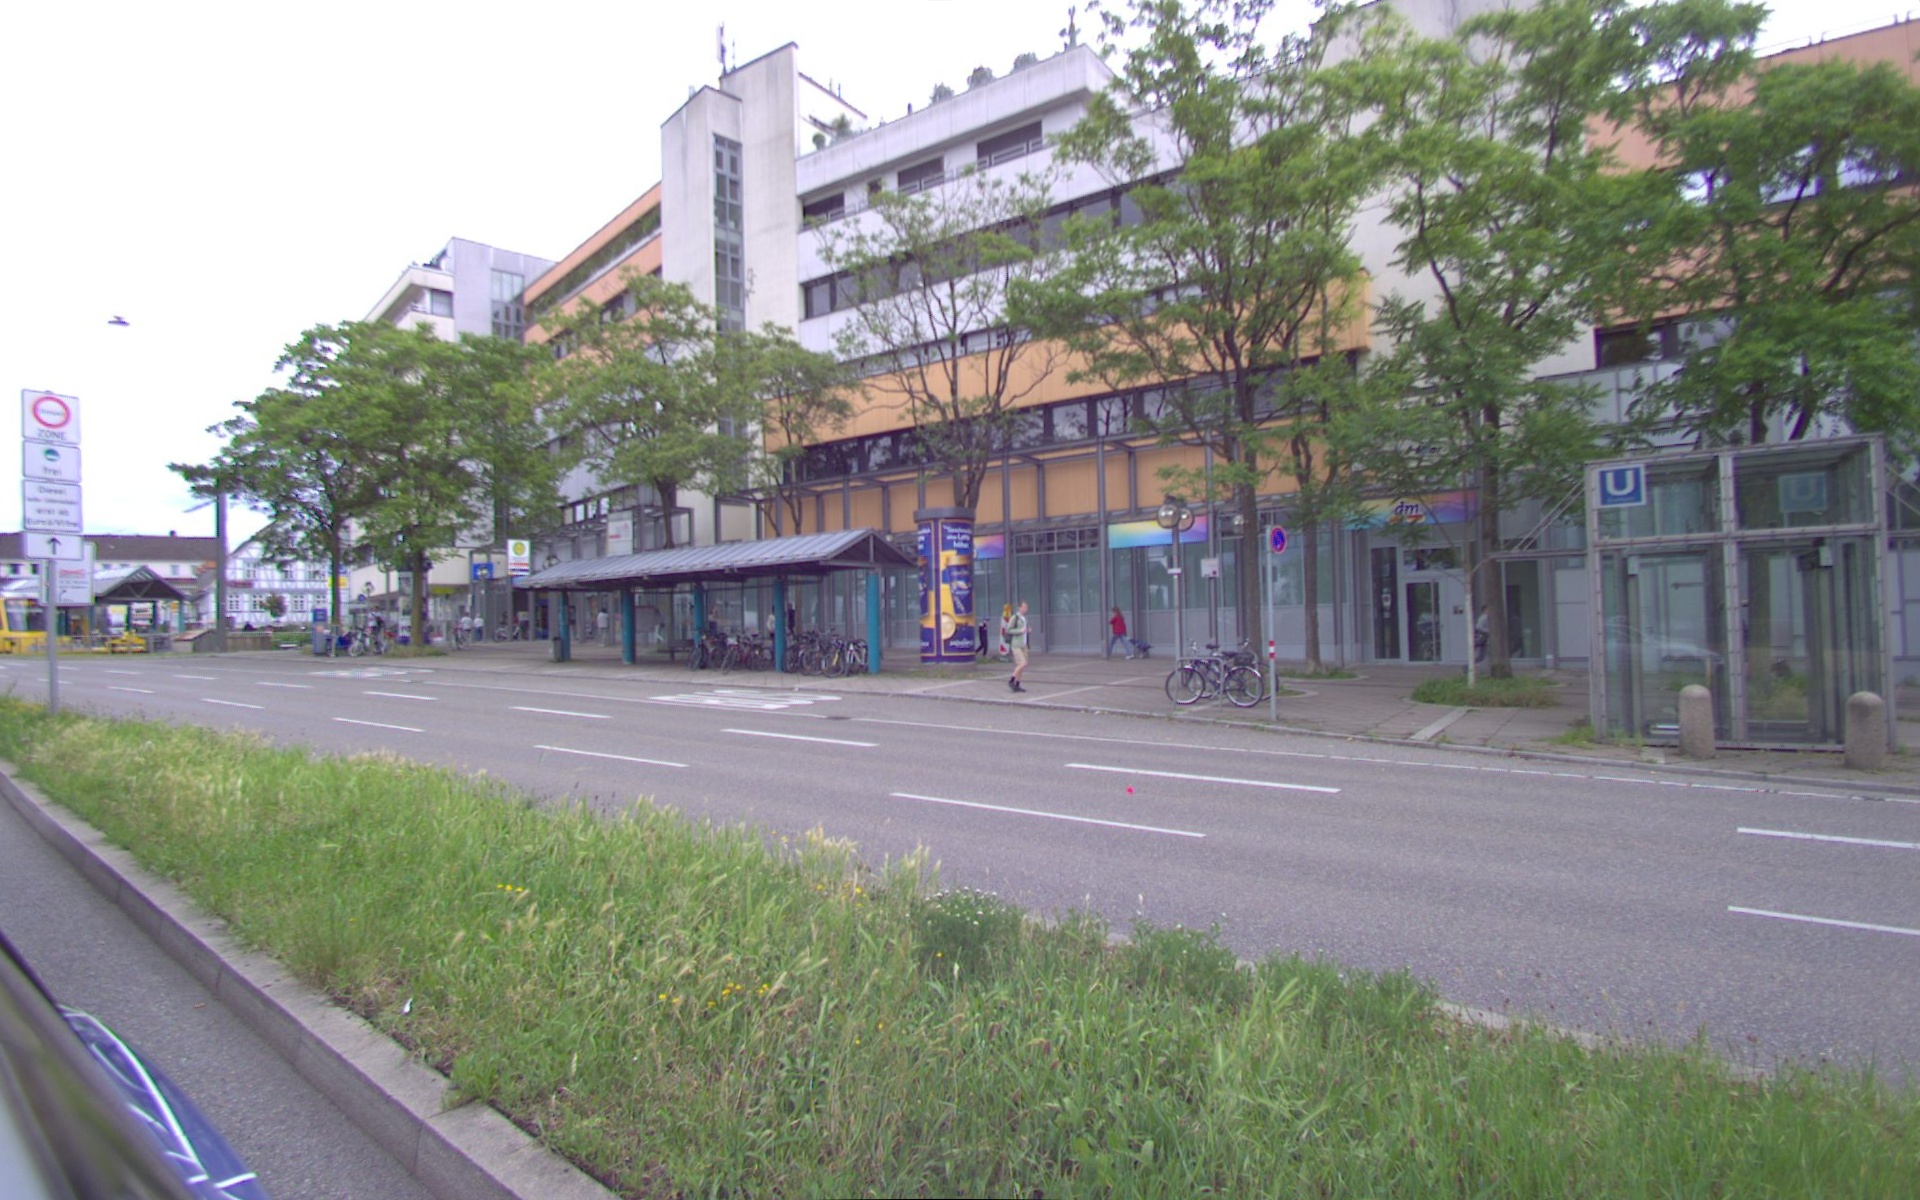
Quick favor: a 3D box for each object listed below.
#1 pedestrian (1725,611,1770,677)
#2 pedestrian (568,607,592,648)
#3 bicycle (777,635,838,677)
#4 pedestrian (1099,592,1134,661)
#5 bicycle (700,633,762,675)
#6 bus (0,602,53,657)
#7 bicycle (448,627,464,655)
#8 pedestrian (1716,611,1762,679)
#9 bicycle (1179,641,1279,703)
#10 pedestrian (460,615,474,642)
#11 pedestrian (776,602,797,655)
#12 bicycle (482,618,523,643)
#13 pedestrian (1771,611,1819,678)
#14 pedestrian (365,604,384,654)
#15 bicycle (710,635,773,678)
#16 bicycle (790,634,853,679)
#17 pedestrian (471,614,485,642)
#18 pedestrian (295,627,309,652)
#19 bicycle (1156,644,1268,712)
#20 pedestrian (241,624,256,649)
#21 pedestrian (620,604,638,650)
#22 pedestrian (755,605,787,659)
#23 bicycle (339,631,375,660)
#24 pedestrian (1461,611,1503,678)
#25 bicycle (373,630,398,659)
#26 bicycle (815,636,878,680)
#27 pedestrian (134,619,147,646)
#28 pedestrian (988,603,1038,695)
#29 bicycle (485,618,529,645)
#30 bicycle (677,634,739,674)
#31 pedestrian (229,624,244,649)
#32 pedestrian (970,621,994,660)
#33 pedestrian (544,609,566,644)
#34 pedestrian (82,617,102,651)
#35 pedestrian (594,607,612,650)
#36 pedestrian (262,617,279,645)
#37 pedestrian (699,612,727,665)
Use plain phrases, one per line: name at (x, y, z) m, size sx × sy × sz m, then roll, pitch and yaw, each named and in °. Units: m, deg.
pedestrian at (16.909, 0.929, 21.735) m, size 0.694 × 1.385 × 0.578 m, roll -1°, pitch -2°, yaw 34°
pedestrian at (-17.436, 1.265, 46.437) m, size 0.752 × 1.859 × 0.755 m, roll -1°, pitch -2°, yaw 41°
bicycle at (-4.144, 1.516, 27.555) m, size 0.549 × 1.048 × 1.714 m, roll -2°, pitch -1°, yaw 38°
pedestrian at (4.675, 0.786, 30.243) m, size 0.791 × 2.029 × 0.703 m, roll -1°, pitch 0°, yaw 31°
bicycle at (-6.461, 1.513, 28.578) m, size 0.549 × 1.048 × 1.714 m, roll -2°, pitch 1°, yaw 38°
bus at (-55.991, 1.687, 58.606) m, size 8.470 × 3.006 × 2.530 m, roll -1°, pitch -2°, yaw 29°
bicycle at (-21.359, 1.709, 42.922) m, size 0.584 × 1.134 × 2.044 m, roll 1°, pitch -1°, yaw -26°
pedestrian at (16.398, 0.936, 21.315) m, size 0.694 × 1.385 × 0.578 m, roll -1°, pitch -2°, yaw 34°
bicycle at (4.978, 1.314, 18.785) m, size 1.737 × 1.074 × 0.542 m, roll -2°, pitch -1°, yaw 45°
pedestrian at (-26.770, 1.547, 54.924) m, size 0.548 × 1.506 × 0.454 m, roll 1°, pitch -2°, yaw -41°
pedestrian at (-6.720, 1.111, 39.207) m, size 0.558 × 2.029 × 0.611 m, roll 1°, pitch -2°, yaw -44°
bicycle at (-26.105, 1.737, 57.759) m, size 2.106 × 1.377 × 0.621 m, roll -1°, pitch 0°, yaw -24°
pedestrian at (17.568, 0.926, 21.310) m, size 0.694 × 1.385 × 0.578 m, roll -1°, pitch -2°, yaw 34°
pedestrian at (-27.275, 1.351, 47.144) m, size 0.608 × 2.325 × 0.583 m, roll -1°, pitch -2°, yaw 39°
bicycle at (-5.966, 1.531, 27.716) m, size 0.549 × 1.048 × 1.714 m, roll -2°, pitch 1°, yaw 38°
bicycle at (-3.620, 1.459, 26.588) m, size 0.549 × 1.048 × 1.714 m, roll -2°, pitch 0°, yaw 38°
pedestrian at (-26.341, 1.540, 55.320) m, size 0.548 × 1.506 × 0.454 m, roll 1°, pitch -2°, yaw -41°
pedestrian at (-41.727, 2.487, 64.172) m, size 0.581 × 1.554 × 0.570 m, roll -1°, pitch -2°, yaw 32°
bicycle at (4.362, 1.325, 17.594) m, size 0.802 × 1.068 × 1.739 m, roll 0°, pitch -1°, yaw -40°
pedestrian at (-45.023, 2.299, 64.043) m, size 0.581 × 1.554 × 0.570 m, roll -1°, pitch -2°, yaw 32°
pedestrian at (-14.742, 1.183, 45.091) m, size 0.558 × 2.029 × 0.611 m, roll 1°, pitch -2°, yaw -44°
pedestrian at (-5.885, 0.981, 31.482) m, size 0.721 × 1.662 × 0.669 m, roll -1°, pitch -1°, yaw 37°
bicycle at (-23.621, 1.768, 39.645) m, size 0.585 × 1.085 × 2.042 m, roll 0°, pitch -1°, yaw -12°
pedestrian at (11.803, 0.997, 22.897) m, size 0.754 × 1.491 × 0.524 m, roll -1°, pitch -2°, yaw 36°
bicycle at (-22.754, 1.755, 40.102) m, size 0.584 × 1.085 × 2.044 m, roll 0°, pitch -1°, yaw -21°
bicycle at (-2.910, 1.475, 26.055) m, size 0.549 × 1.048 × 1.714 m, roll -2°, pitch 0°, yaw 38°
pedestrian at (-63.491, 2.500, 78.431) m, size 0.731 × 2.029 × 0.940 m, roll 1°, pitch -2°, yaw -39°
pedestrian at (1.093, 1.000, 20.869) m, size 0.916 × 1.846 × 0.533 m, roll -1°, pitch -2°, yaw 25°
bicycle at (-24.957, 1.727, 55.781) m, size 2.107 × 1.385 × 0.621 m, roll -1°, pitch 0°, yaw -31°
bicycle at (-7.240, 1.536, 29.143) m, size 0.549 × 1.048 × 1.714 m, roll -2°, pitch 0°, yaw 38°
pedestrian at (-45.373, 2.302, 63.434) m, size 0.581 × 1.554 × 0.570 m, roll -1°, pitch -2°, yaw 32°
pedestrian at (0.679, 1.256, 31.522) m, size 0.620 × 1.190 × 0.418 m, roll -1°, pitch -2°, yaw 31°
pedestrian at (-19.645, 1.299, 49.076) m, size 0.752 × 1.695 × 0.755 m, roll -1°, pitch -2°, yaw 41°
pedestrian at (-52.109, 2.023, 60.774) m, size 0.663 × 2.029 × 0.632 m, roll -1°, pitch -2°, yaw 21°
pedestrian at (-15.481, 1.244, 43.900) m, size 0.639 × 1.823 × 0.761 m, roll 0°, pitch -2°, yaw -16°
pedestrian at (-50.110, 2.252, 73.518) m, size 0.867 × 2.029 × 1.010 m, roll 1°, pitch -2°, yaw -44°
pedestrian at (-8.461, 1.324, 34.667) m, size 0.769 × 1.800 × 0.525 m, roll -1°, pitch -2°, yaw 33°
